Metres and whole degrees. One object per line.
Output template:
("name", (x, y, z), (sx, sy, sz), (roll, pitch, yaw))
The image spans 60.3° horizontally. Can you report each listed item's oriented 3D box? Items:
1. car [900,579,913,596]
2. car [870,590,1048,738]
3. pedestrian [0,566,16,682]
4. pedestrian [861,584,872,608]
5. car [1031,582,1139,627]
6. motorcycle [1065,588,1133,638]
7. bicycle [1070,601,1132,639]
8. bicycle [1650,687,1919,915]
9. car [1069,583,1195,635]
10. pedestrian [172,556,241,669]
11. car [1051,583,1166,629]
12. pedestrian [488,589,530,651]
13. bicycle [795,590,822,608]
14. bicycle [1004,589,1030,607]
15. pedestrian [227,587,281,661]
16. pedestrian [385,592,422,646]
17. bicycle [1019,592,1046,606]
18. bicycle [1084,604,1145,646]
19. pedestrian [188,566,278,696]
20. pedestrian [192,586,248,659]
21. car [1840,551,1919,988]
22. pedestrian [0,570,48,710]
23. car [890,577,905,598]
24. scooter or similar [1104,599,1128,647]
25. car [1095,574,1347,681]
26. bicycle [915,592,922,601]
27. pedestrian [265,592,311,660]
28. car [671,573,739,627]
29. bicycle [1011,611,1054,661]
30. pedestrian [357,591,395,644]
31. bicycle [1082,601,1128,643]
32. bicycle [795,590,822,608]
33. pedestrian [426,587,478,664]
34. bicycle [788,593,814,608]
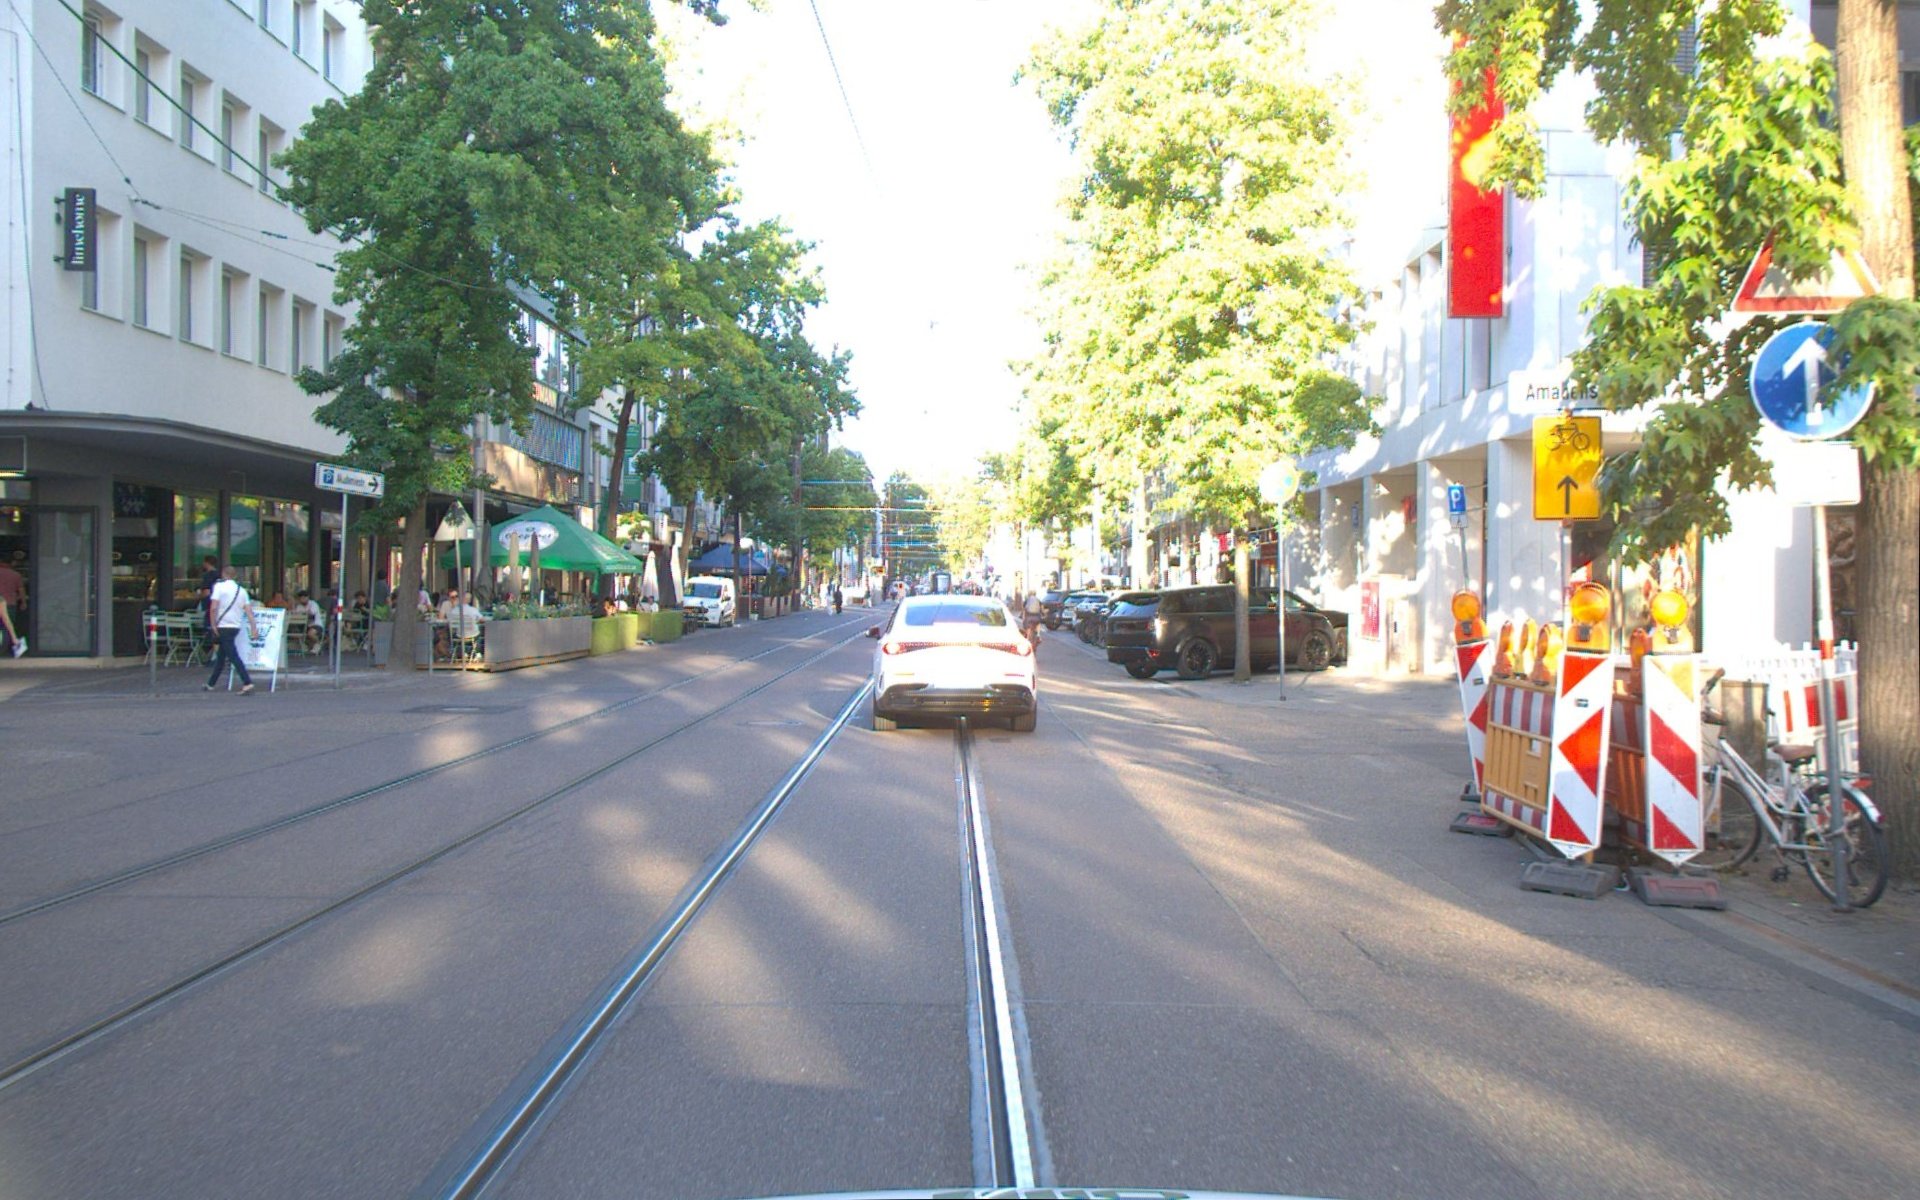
("car", (-8.272, -1.940, 257.122), (1.871, 2.504, 5.275), (0, 0, 0))
("car", (-0.031, 0.646, 19.185), (1.819, 1.480, 4.174), (1, 0, -1))
("pedestrian", (-14.290, 0.341, 24.073), (0.783, 1.642, 0.862), (1, 2, -17))
("pedestrian", (-7.153, -0.298, 126.811), (0.771, 1.832, 0.844), (0, 0, 0))
("car", (5.207, 0.165, 68.615), (4.300, 1.681, 1.676), (-2, 1, -32))
("motorcycle", (4.542, 0.406, 53.913), (2.302, 1.536, 0.845), (-2, 0, -45))
("bicycle", (4.458, 0.634, 52.345), (1.870, 1.139, 0.661), (-2, 0, -30))
("bicycle", (4.440, 1.028, 9.020), (0.483, 0.999, 1.929), (0, 0, -2))
("car", (5.952, 0.304, 57.140), (4.110, 1.598, 1.832), (-3, 1, -34))
("pedestrian", (-12.633, 0.198, 27.754), (0.670, 1.847, 0.764), (2, 0, 15))
("car", (5.808, 0.223, 64.672), (4.195, 1.615, 1.864), (-2, 1, -32))
("pedestrian", (-10.012, 0.436, 36.732), (0.675, 1.334, 0.807), (2, 0, 0))
("bicycle", (-10.077, -0.069, 109.753), (1.754, 1.096, 0.377), (2, 0, -5))
("bicycle", (4.399, -0.173, 127.473), (1.874, 1.303, 0.608), (-2, 0, -12))
("pedestrian", (-12.694, 0.422, 29.763), (0.614, 1.304, 0.727), (2, 0, 0))
("pedestrian", (-12.748, 0.426, 37.902), (0.589, 1.194, 0.687), (2, 0, 0))
("bicycle", (5.707, -0.099, 129.805), (2.077, 1.115, 0.608), (0, 0, -14))
("bicycle", (4.487, 0.713, 48.150), (1.543, 1.107, 0.860), (-3, 2, -31))
("pedestrian", (-10.157, 0.412, 23.122), (0.779, 1.771, 0.866), (1, 1, 15))
("pedestrian", (-13.342, 0.399, 29.832), (0.631, 1.291, 0.738), (2, 0, 0))
("car", (4.922, 0.663, 4.763), (1.982, 1.768, 4.905), (-2, 0, -2))
("pedestrian", (-11.889, 0.475, 20.429), (0.692, 1.685, 0.967), (0, 1, 1))
("car", (-9.055, -1.831, 238.485), (1.953, 2.948, 5.275), (0, 0, 0))
("scooter or similar", (4.395, 0.637, 46.590), (0.441, 1.298, 1.306), (-3, 0, -1))
("car", (5.082, 0.490, 32.051), (4.603, 1.794, 1.974), (-3, 0, -30))
("bicycle", (-5.119, -0.433, 203.014), (0.784, 1.162, 2.256), (2, 0, -2))
("pedestrian", (-12.667, 0.482, 31.196), (0.541, 1.257, 0.687), (2, 0, 0))
("car", (-9.651, -0.012, 62.858), (1.759, 1.897, 4.554), (3, 0, 0))
("bicycle", (1.620, 0.784, 36.808), (0.703, 1.012, 2.060), (2, 1, 8))
("pedestrian", (-13.391, 0.401, 37.908), (0.589, 1.178, 0.687), (2, 0, 0))
("bicycle", (4.423, 0.655, 50.396), (0.472, 1.183, 1.687), (-3, 0, 39))
("bicycle", (-10.035, -0.069, 109.310), (1.754, 1.096, 0.377), (2, 0, -5))
("pedestrian", (-9.570, 0.466, 31.158), (0.675, 1.410, 0.807), (2, 0, 0))
("bicycle", (-10.227, 0.016, 106.364), (1.562, 0.946, 0.377), (2, 0, 6))
